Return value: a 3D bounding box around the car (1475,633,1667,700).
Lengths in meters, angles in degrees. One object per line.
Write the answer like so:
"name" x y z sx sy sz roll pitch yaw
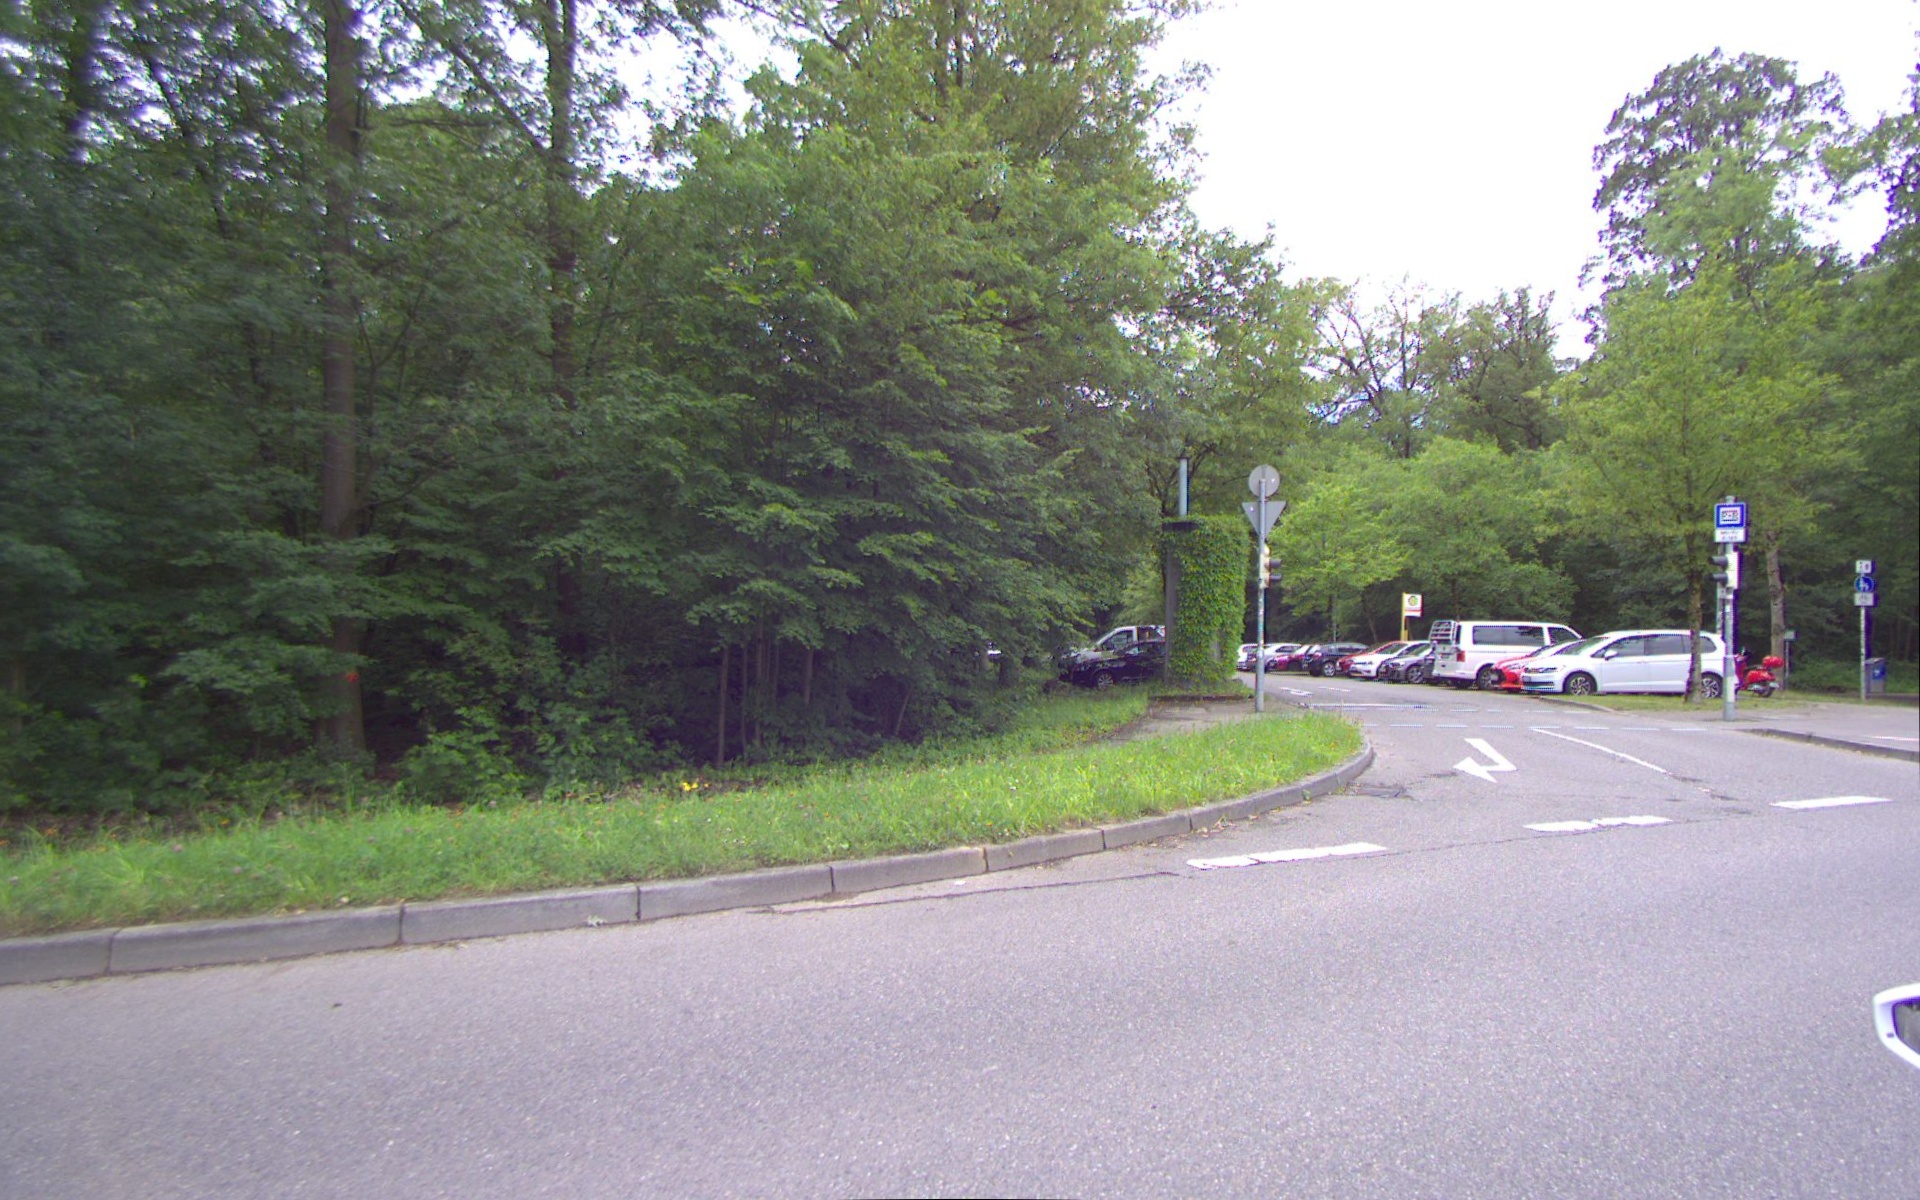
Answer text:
"car" 16.223 1.733 26.877 3.928 1.575 1.948 2 -2 9

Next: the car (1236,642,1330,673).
"car" 16.027 2.876 49.925 4.060 1.480 1.865 0 -3 -3

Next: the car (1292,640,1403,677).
"car" 16.218 2.447 42.214 3.921 1.502 1.923 0 -3 -1

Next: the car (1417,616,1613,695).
"car" 16.267 1.609 29.631 4.570 2.048 2.084 2 -1 3

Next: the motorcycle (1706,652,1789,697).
"motorcycle" 21.885 2.053 27.970 0.664 1.176 2.011 1 -2 -4

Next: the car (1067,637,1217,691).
"car" 4.992 1.746 27.916 3.920 1.397 1.723 1 -2 3

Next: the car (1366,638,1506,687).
"car" 16.333 2.161 34.600 3.921 1.502 1.878 2 -4 1

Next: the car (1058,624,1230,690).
"car" 5.549 1.754 30.905 5.000 1.940 1.979 0 -3 4

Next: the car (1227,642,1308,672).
"car" 15.997 2.961 52.310 3.643 1.530 1.751 1 -3 -5

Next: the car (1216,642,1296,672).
"car" 16.029 3.078 54.536 3.783 1.566 1.729 1 -3 -7

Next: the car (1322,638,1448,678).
"car" 16.728 2.302 39.659 4.159 1.499 1.920 1 -3 -1

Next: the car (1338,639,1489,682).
"car" 16.604 2.198 36.960 4.692 1.495 1.854 0 -2 2

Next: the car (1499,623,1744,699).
"car" 15.907 1.461 24.419 4.443 1.715 2.167 0 -3 8

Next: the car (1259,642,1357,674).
"car" 16.348 2.744 47.273 3.924 1.468 1.940 0 -3 -5

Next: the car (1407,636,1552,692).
"car" 16.629 2.033 32.260 3.661 1.575 1.846 2 0 1
